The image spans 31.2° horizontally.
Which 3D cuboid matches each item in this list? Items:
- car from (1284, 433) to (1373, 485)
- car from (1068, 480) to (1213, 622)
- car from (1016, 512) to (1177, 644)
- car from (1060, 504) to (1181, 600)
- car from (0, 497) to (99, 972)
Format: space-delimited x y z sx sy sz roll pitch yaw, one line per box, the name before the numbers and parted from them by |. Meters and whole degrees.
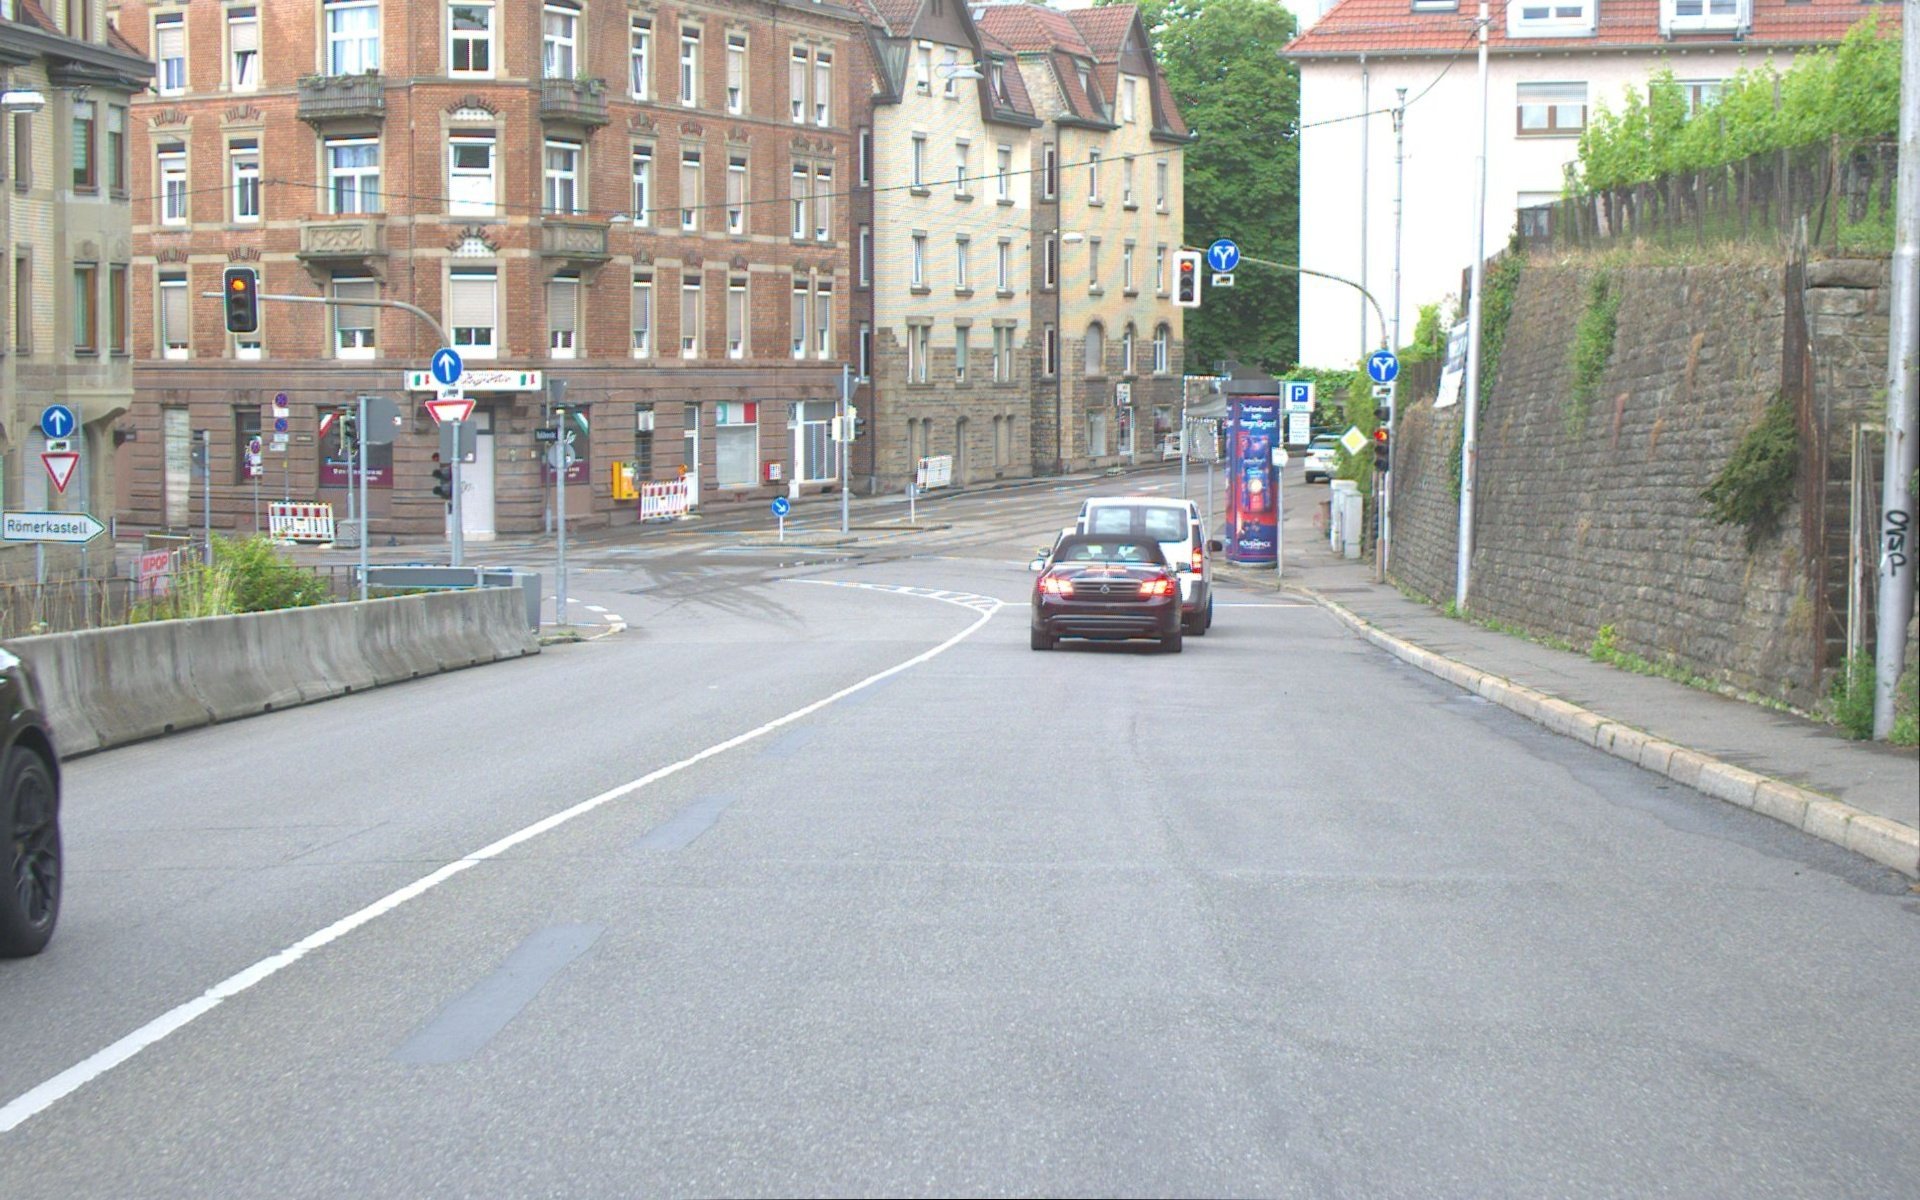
car | 12.662 -4.869 118.045 1.844 1.696 3.995 2 4 25
car | 2.536 -0.719 48.521 1.909 1.877 4.000 1 2 3
car | 1.669 -0.302 41.653 1.816 1.425 4.000 1 2 3
car | 2.585 -0.796 55.420 1.841 1.436 4.000 1 2 3
car | -4.212 0.516 10.434 1.982 1.569 4.375 -2 2 1
